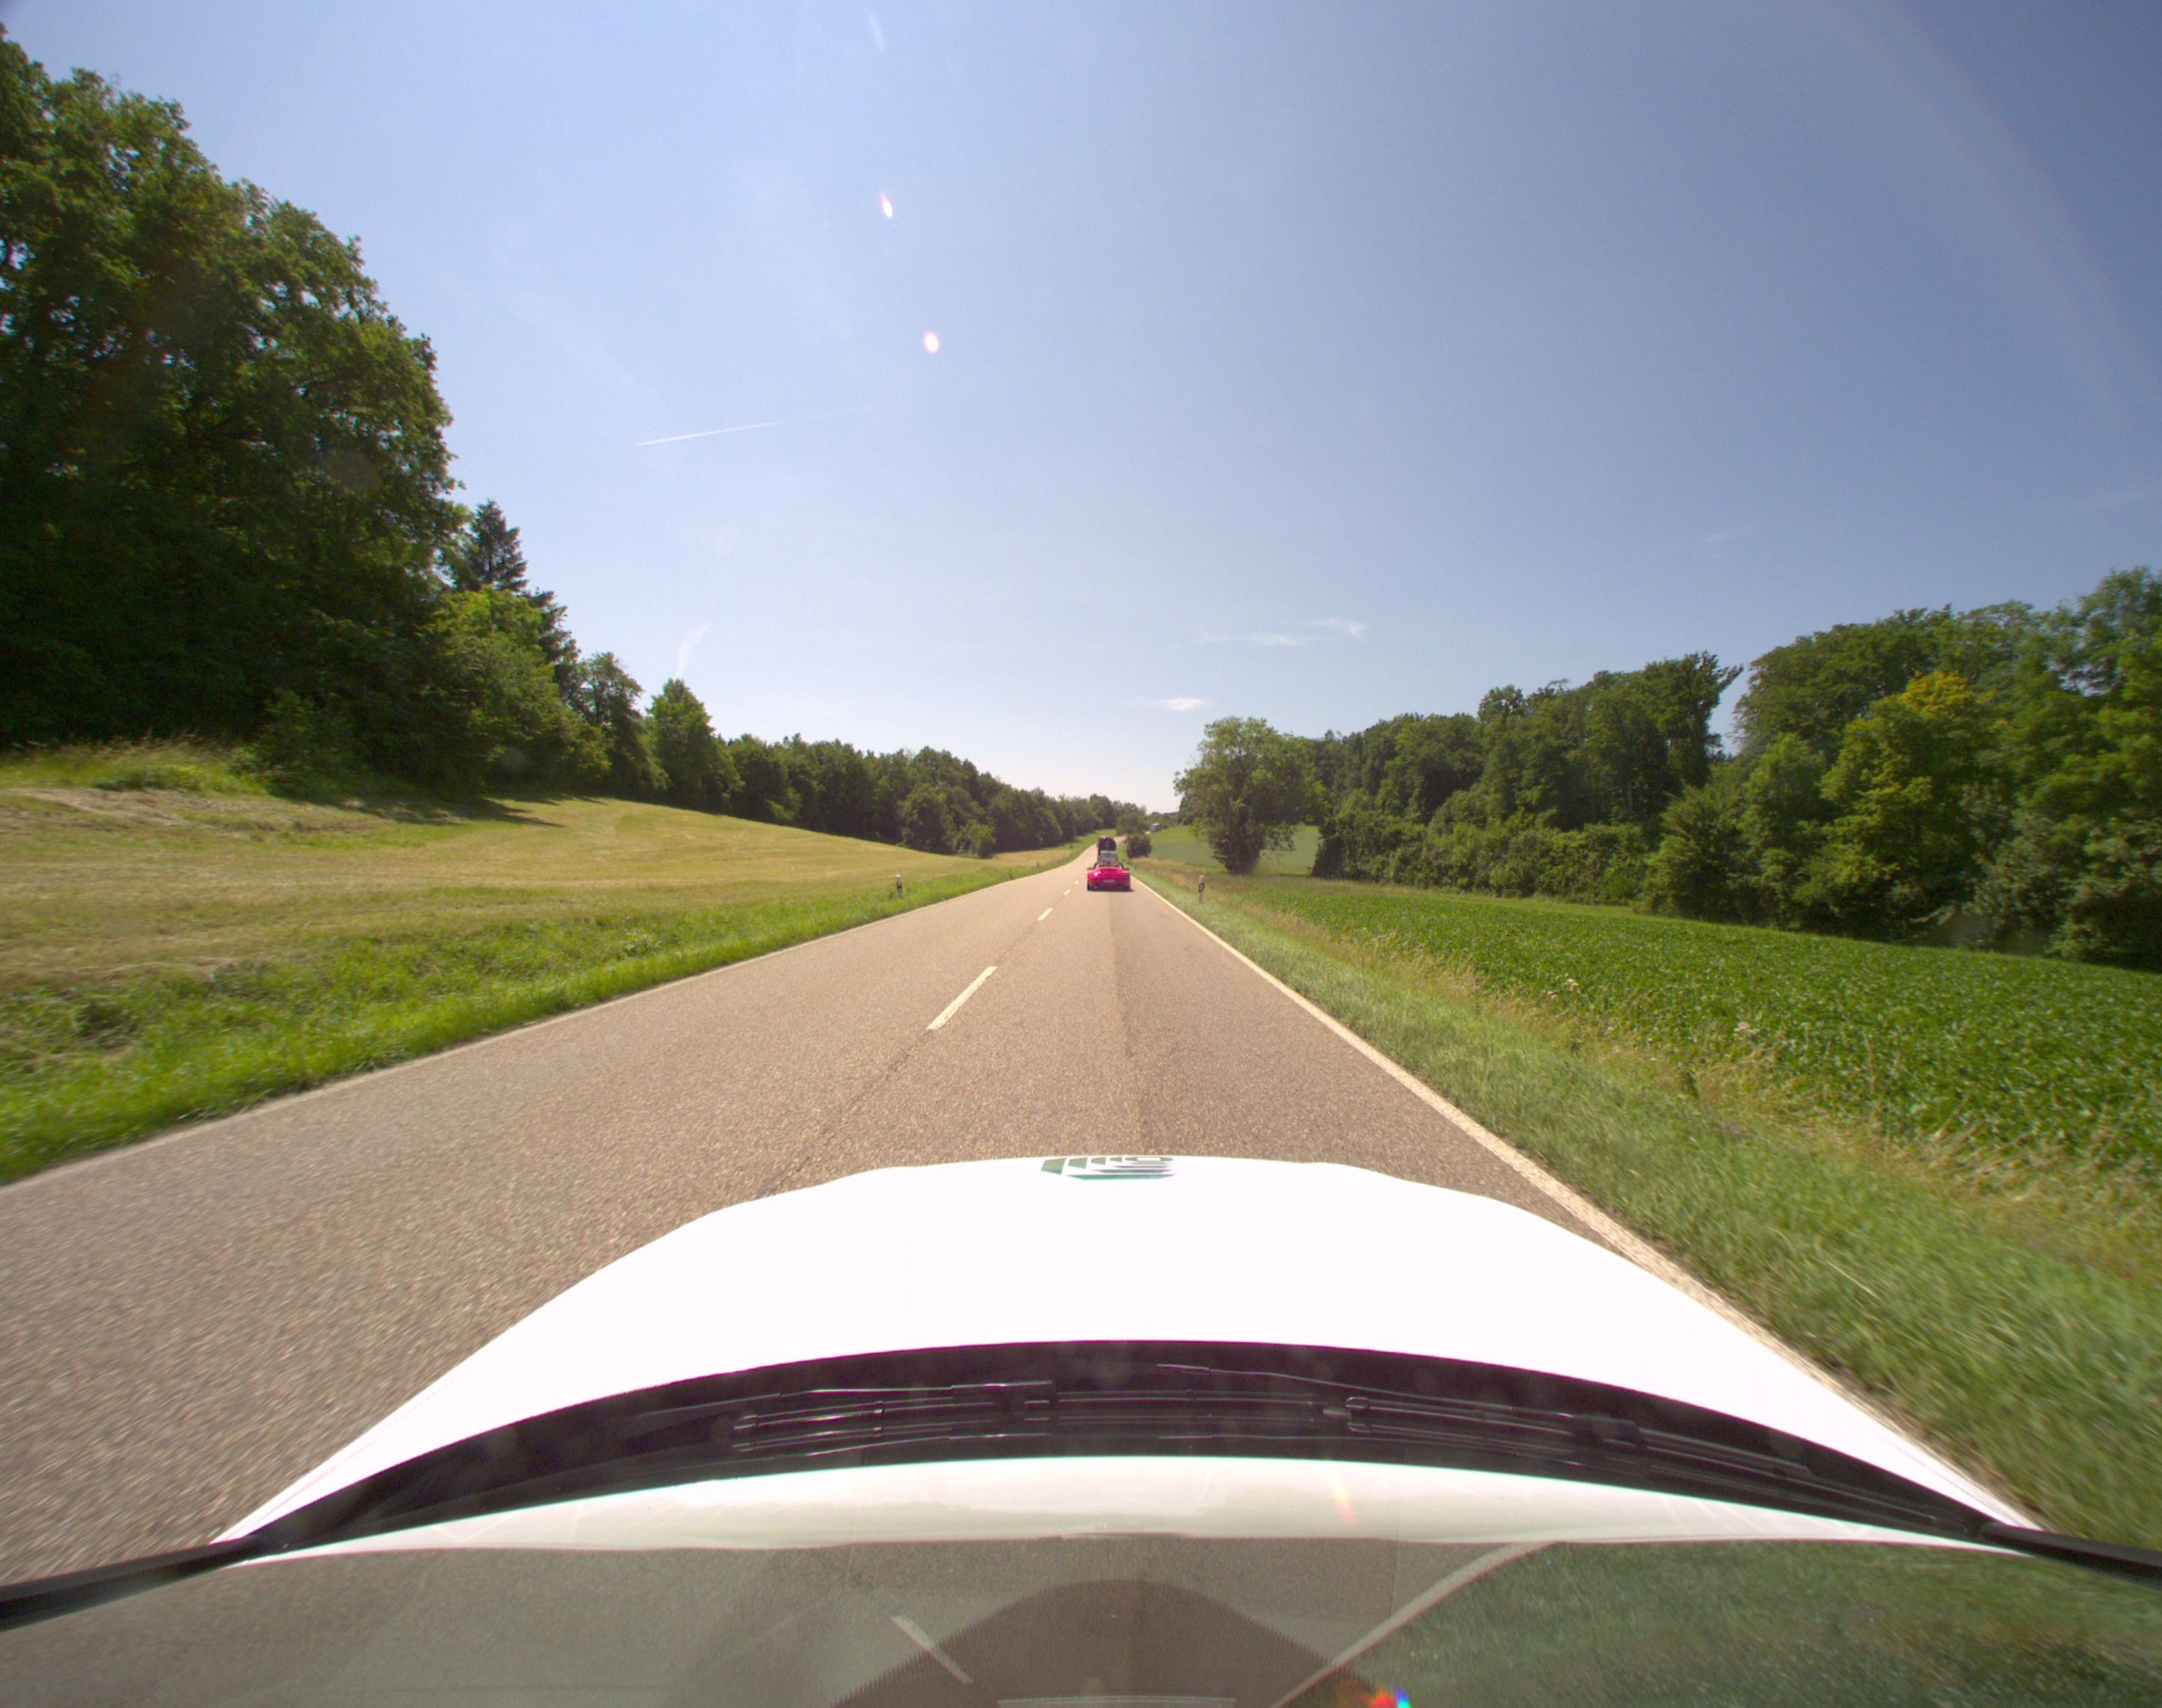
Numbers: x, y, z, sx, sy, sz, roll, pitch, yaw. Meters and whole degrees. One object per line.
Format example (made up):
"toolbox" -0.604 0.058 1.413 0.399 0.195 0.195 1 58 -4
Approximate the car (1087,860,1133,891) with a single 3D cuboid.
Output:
"car" 1.255 0.900 35.975 1.876 1.255 4.010 -1 0 1

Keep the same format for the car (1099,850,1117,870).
"car" 2.722 0.556 82.169 1.672 1.900 4.012 -2 0 2

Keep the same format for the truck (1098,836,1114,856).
"truck" 6.218 -2.141 203.389 3.713 4.659 12.032 -1 2 0

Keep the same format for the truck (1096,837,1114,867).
"truck" 3.413 -0.402 118.244 2.395 4.049 12.553 -1 2 1
